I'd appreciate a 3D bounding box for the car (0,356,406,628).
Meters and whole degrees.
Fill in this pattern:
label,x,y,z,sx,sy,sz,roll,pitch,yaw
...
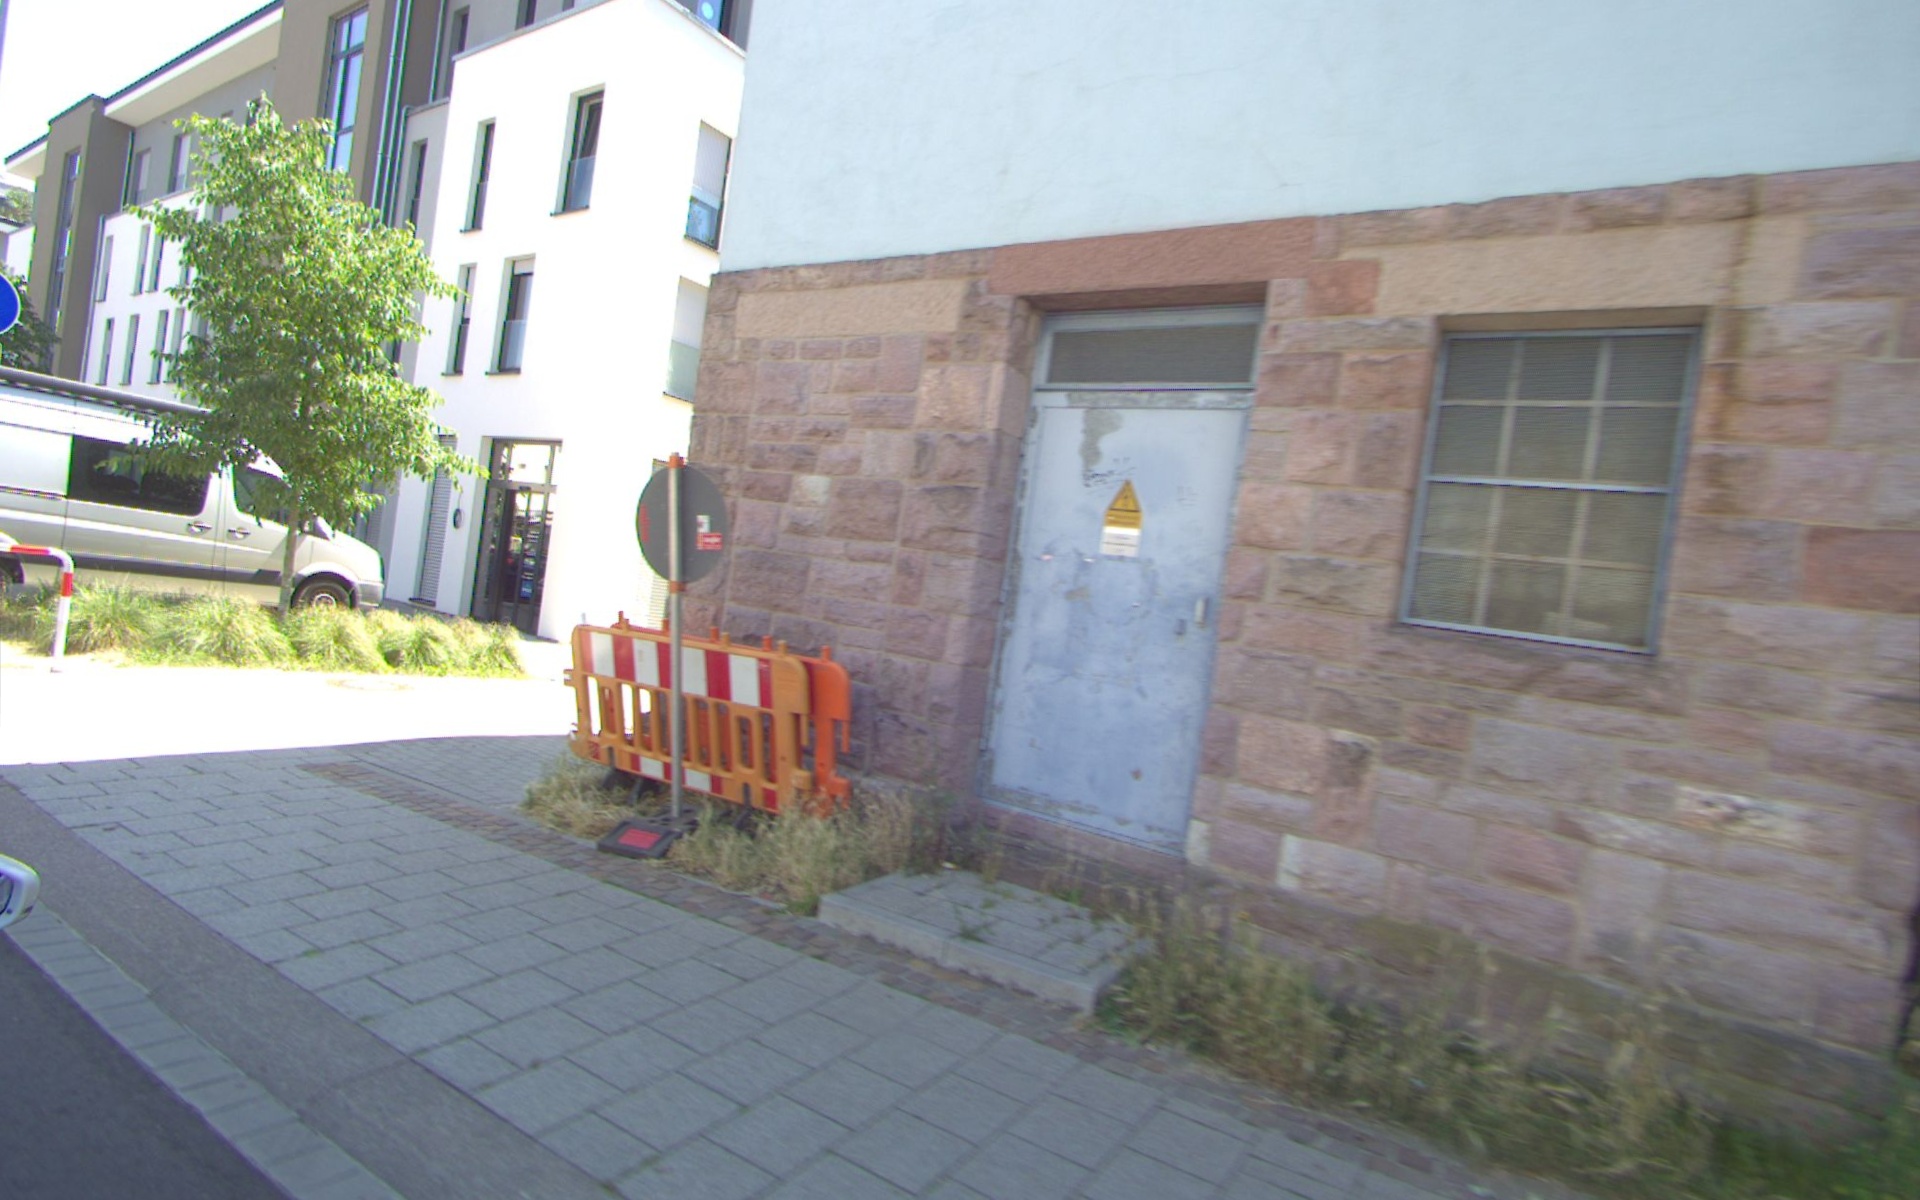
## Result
label,x,y,z,sx,sy,sz,roll,pitch,yaw
car,-10.910,-1.331,13.082,2.162,2.765,5.942,8,0,36

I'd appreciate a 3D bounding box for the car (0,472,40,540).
label,x,y,z,sx,sy,sz,roll,pitch,yaw
car,-22.688,-2.284,21.603,1.827,1.426,3.971,8,1,35

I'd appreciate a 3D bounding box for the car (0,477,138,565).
label,x,y,z,sx,sy,sz,roll,pitch,yaw
car,-18.785,-1.689,19.263,1.897,1.433,4.262,7,-1,33

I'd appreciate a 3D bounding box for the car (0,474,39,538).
label,x,y,z,sx,sy,sz,roll,pitch,yaw
car,-24.480,-2.489,23.522,1.735,1.449,3.982,8,0,35

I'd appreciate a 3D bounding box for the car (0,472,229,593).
label,x,y,z,sx,sy,sz,roll,pitch,yaw
car,-14.803,-1.190,16.088,1.969,1.547,4.588,8,0,37
